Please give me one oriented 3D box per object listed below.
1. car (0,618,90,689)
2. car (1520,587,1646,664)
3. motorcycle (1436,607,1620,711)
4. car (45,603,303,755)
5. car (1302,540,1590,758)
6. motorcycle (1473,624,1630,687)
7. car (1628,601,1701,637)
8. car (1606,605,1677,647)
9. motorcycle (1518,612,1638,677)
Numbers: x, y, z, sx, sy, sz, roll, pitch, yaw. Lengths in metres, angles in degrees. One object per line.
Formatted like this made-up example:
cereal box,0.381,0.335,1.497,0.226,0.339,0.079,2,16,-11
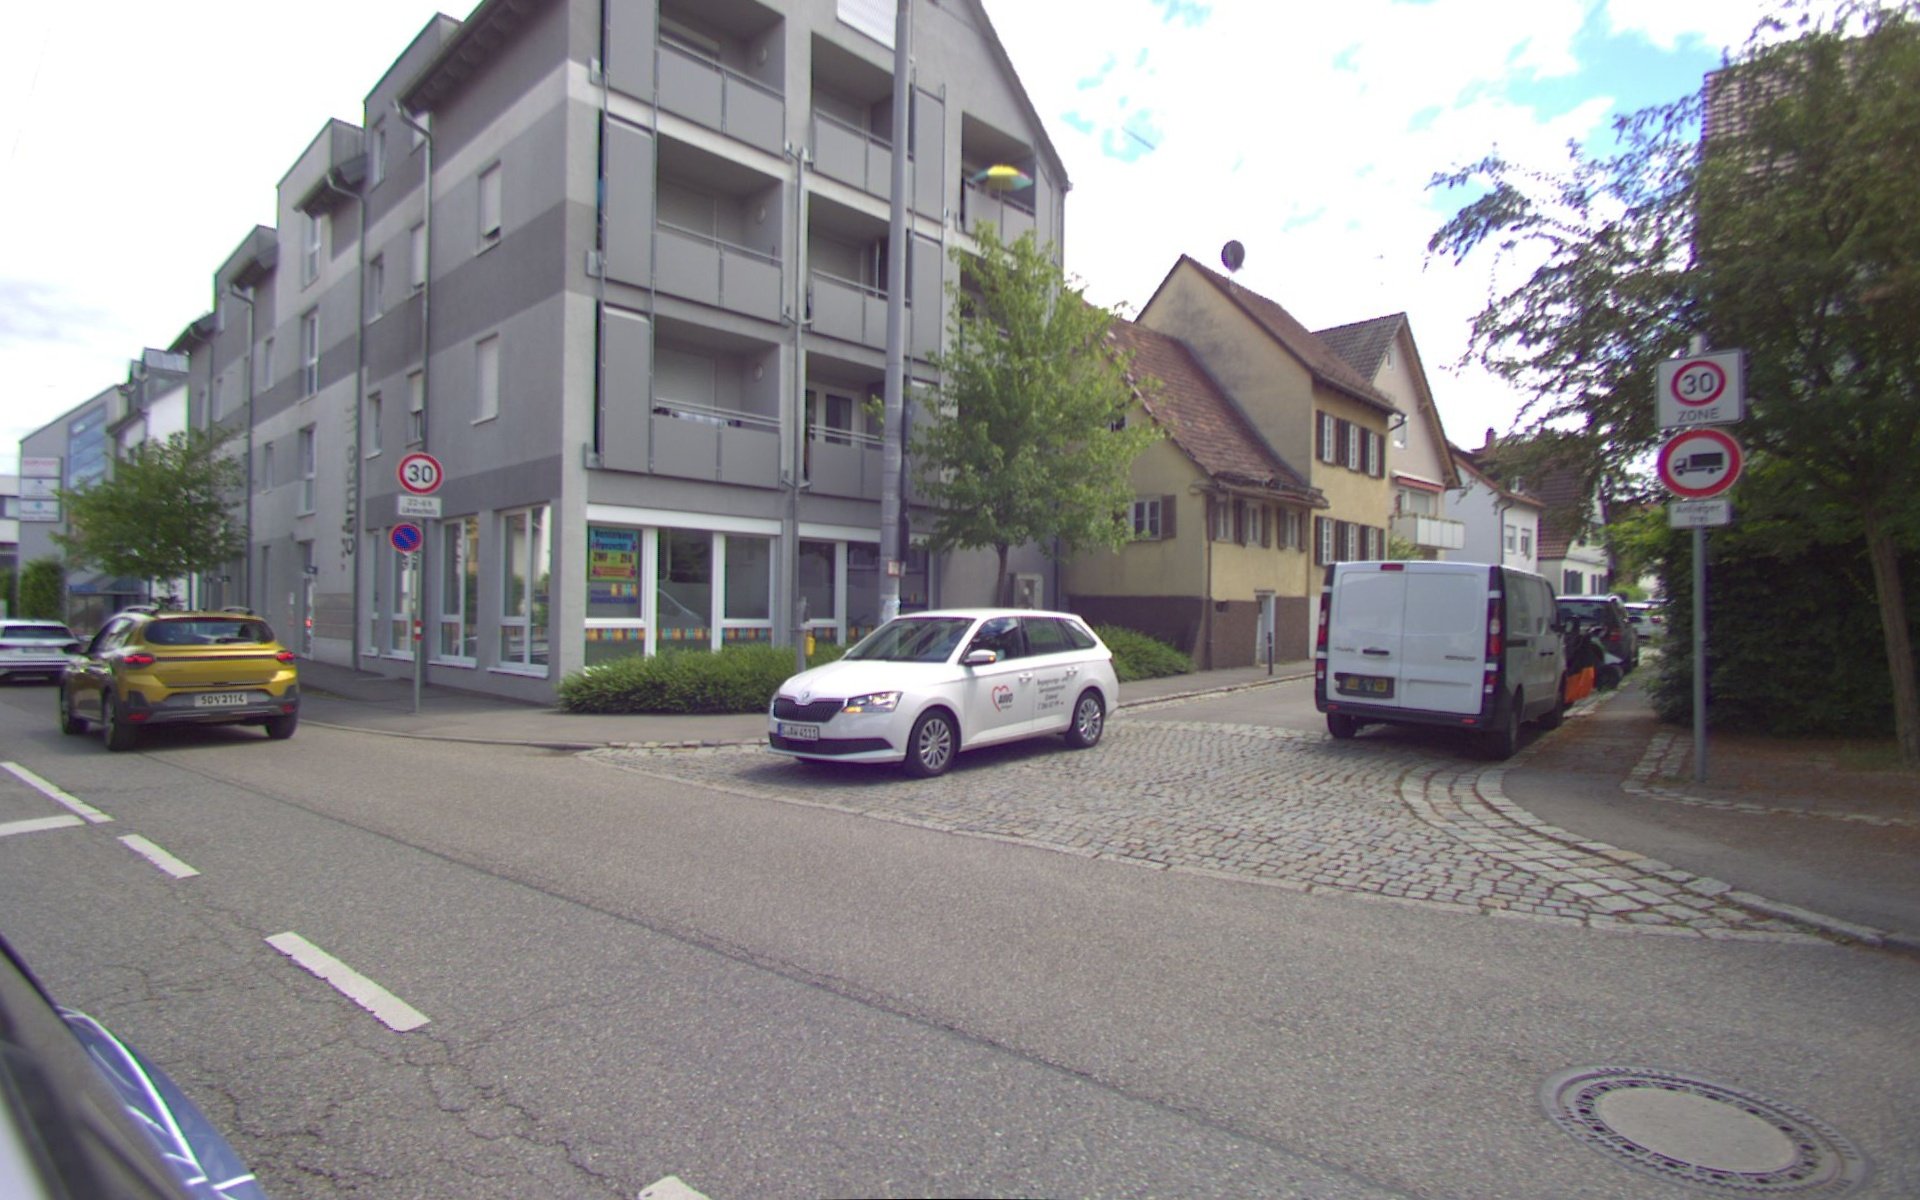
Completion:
car,-20.993,1.143,22.570,4.113,1.435,1.855,-1,-1,41
car,14.308,0.539,23.145,2.035,1.588,4.106,-1,0,38
motorcycle,7.980,0.781,14.291,2.136,1.343,0.832,0,0,44
car,-9.617,0.846,12.283,3.997,1.549,1.710,-2,-1,40
car,5.849,0.461,11.847,2.093,2.024,4.576,-1,-1,38
motorcycle,10.461,0.953,18.014,2.329,1.012,1.194,-1,-1,29
car,28.786,0.745,41.318,1.837,1.379,4.099,-1,-1,44
car,24.353,0.884,36.122,1.834,1.379,4.106,-1,0,38
motorcycle,12.181,0.849,20.000,0.461,1.233,1.968,0,-1,-40
